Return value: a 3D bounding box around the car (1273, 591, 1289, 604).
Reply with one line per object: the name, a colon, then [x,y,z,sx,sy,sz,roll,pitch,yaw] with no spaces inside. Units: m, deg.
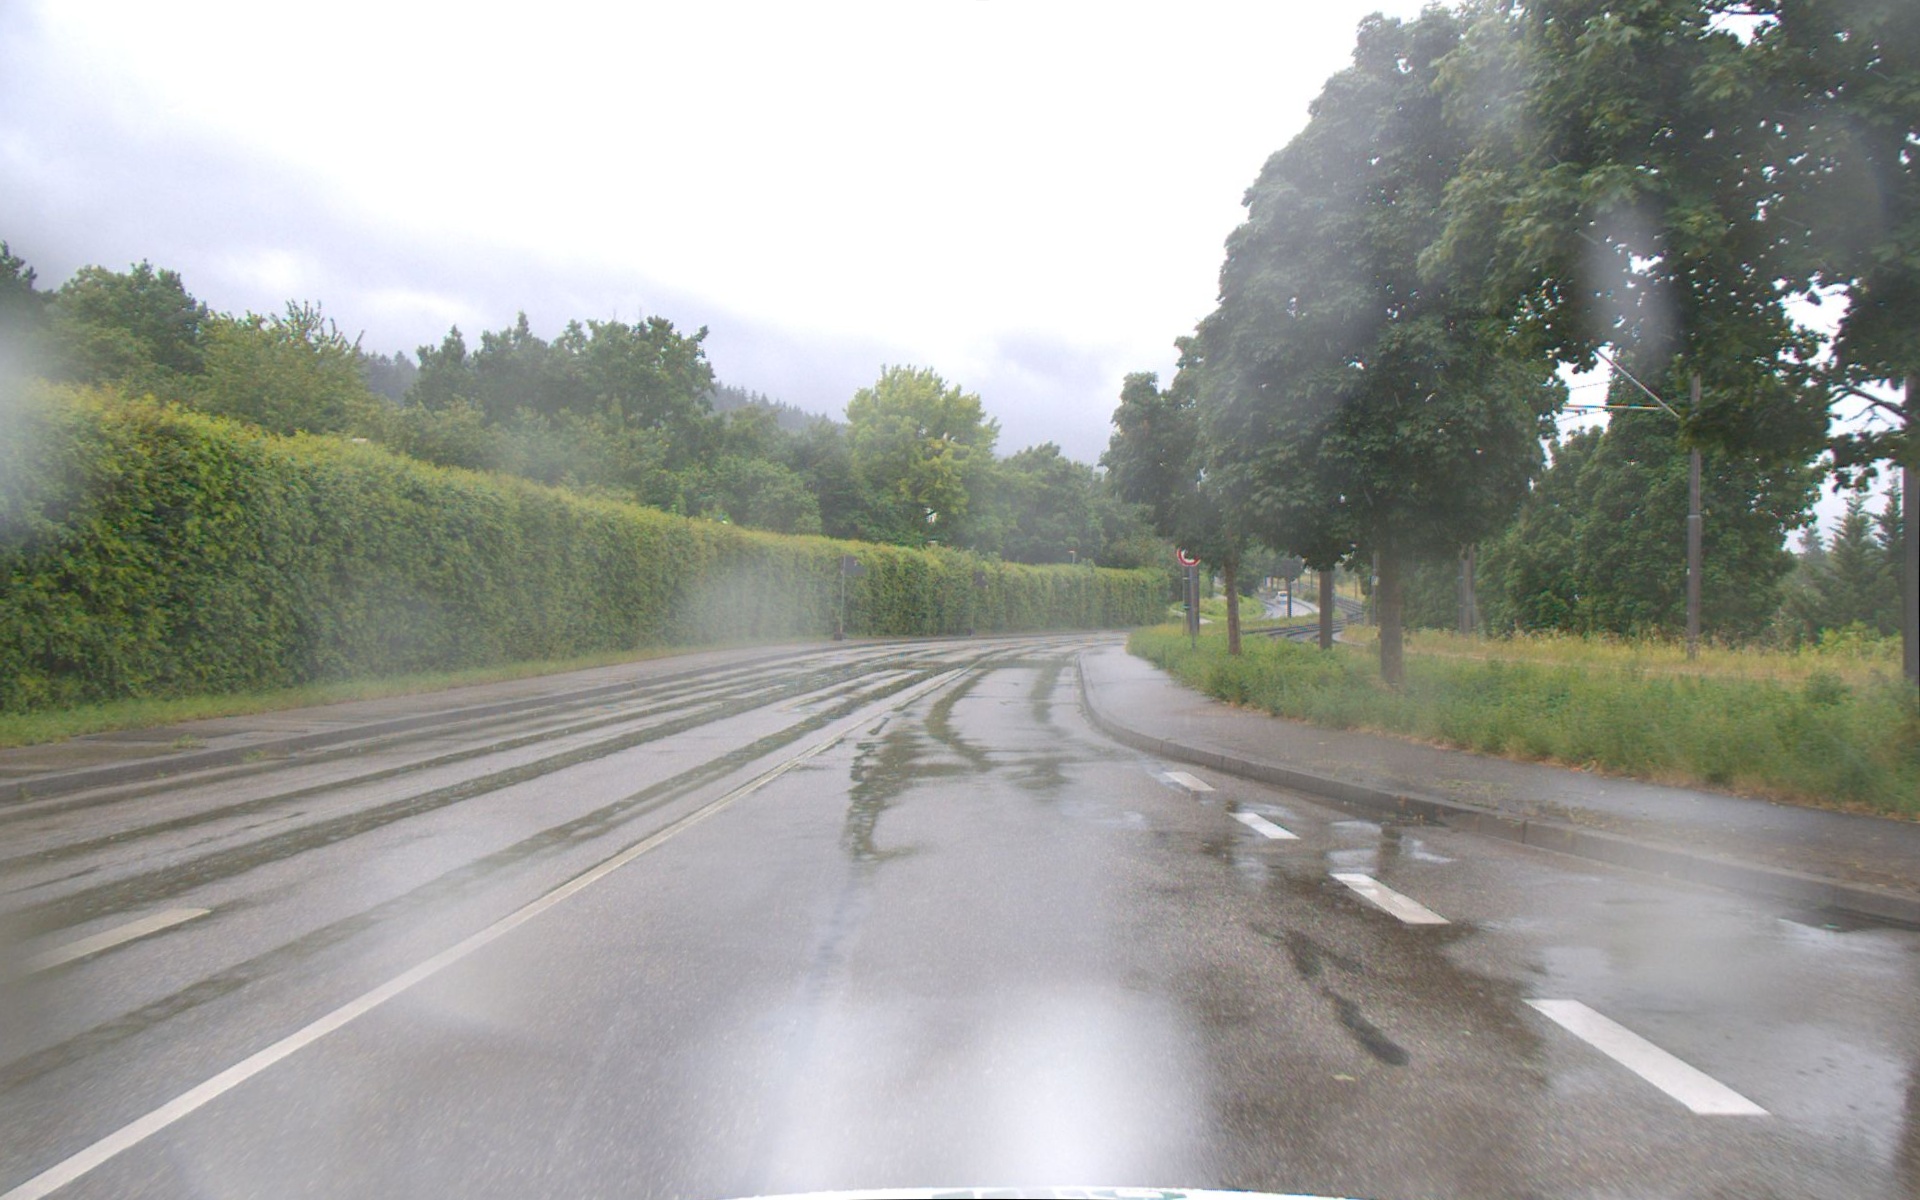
car: [48.007,-0.432,247.266,1.912,1.937,4.123,0,0,16]
